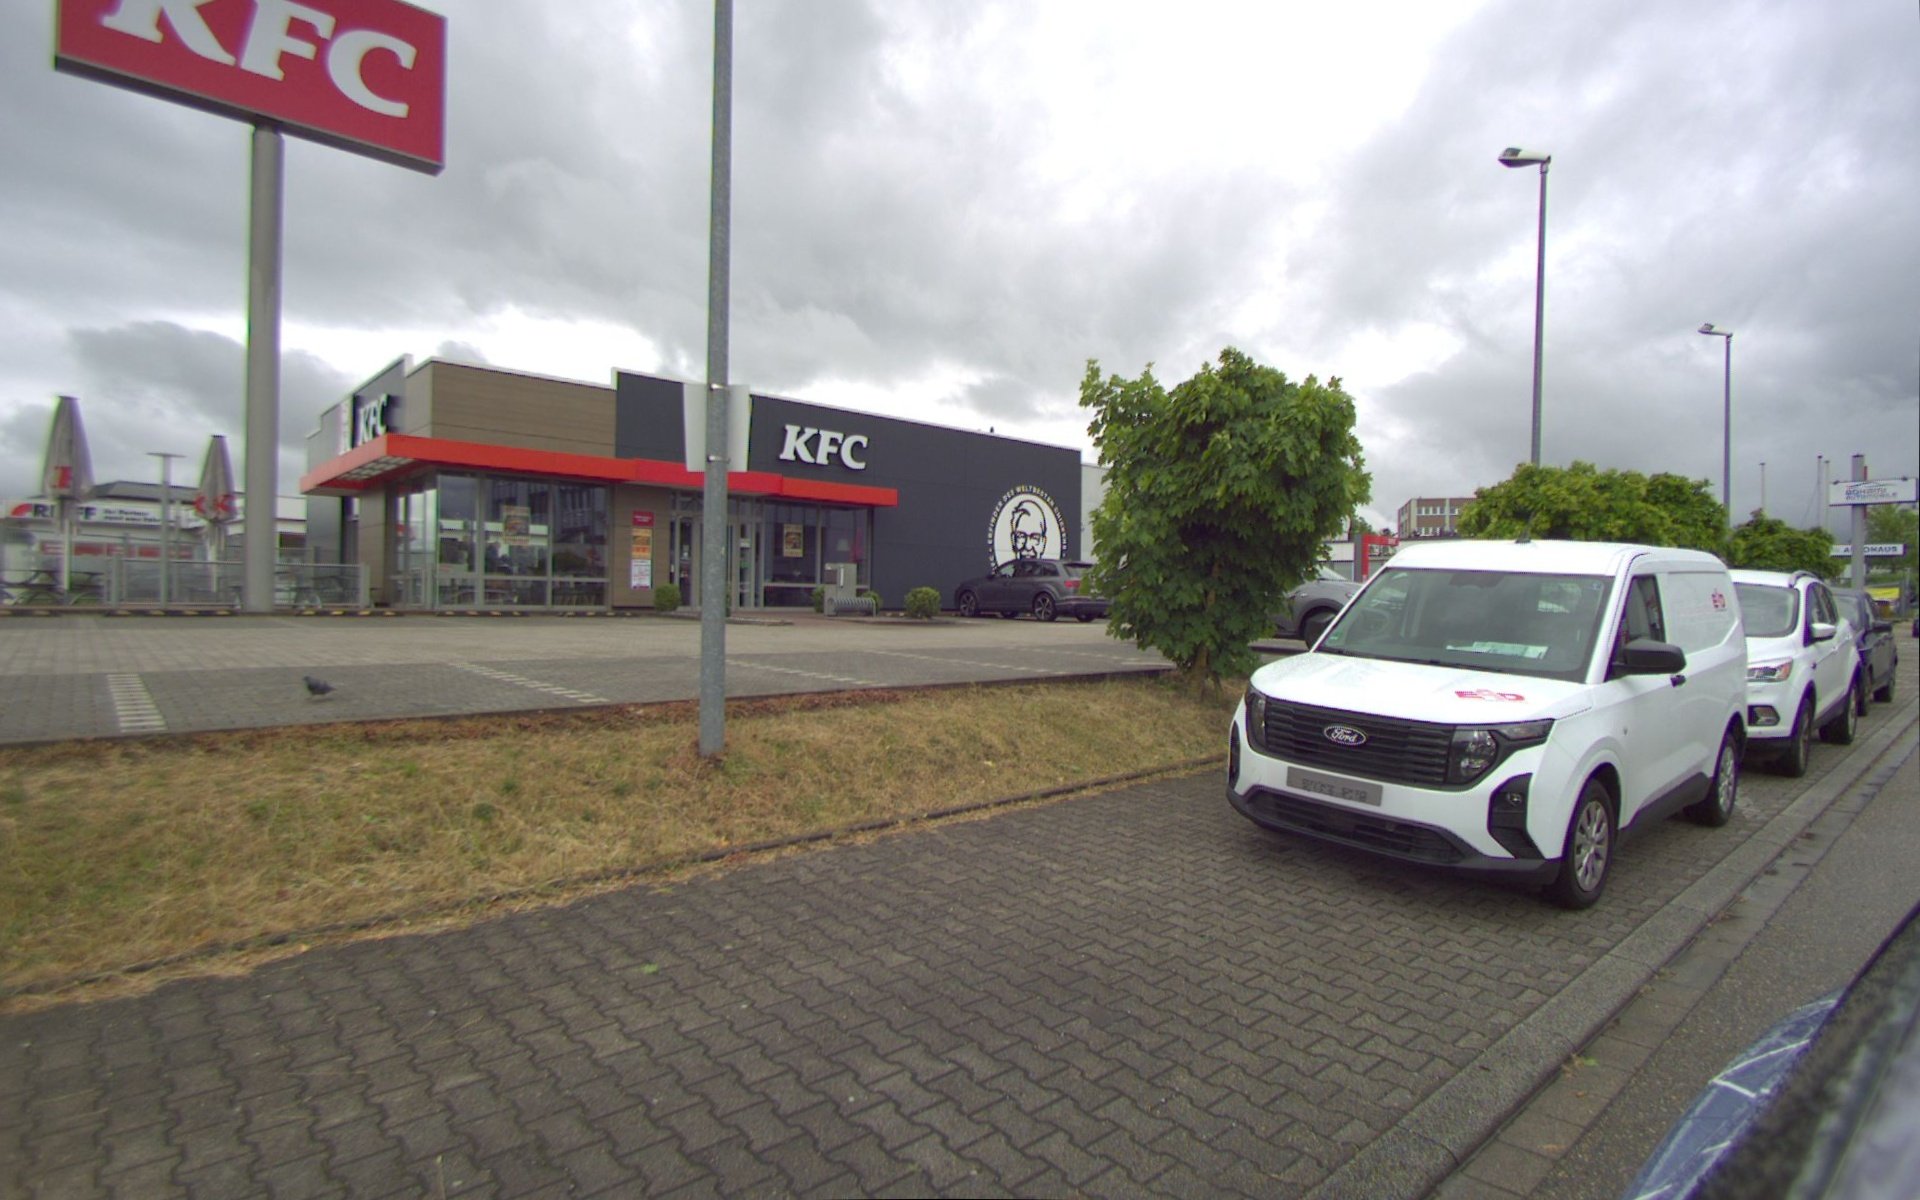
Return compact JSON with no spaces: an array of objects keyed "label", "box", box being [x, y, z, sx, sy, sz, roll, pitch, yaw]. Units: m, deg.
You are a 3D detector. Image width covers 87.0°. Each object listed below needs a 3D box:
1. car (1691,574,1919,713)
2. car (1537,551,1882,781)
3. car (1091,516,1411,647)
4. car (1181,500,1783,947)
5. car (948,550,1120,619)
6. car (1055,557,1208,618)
[{"label":"car","box":[11.585,0.467,13.765,3.930,1.618,1.821,-1,1,-41]},{"label":"car","box":[7.197,0.456,9.583,3.930,1.729,1.821,-1,1,-41]},{"label":"car","box":[4.388,-0.291,15.780,4.489,1.762,1.862,1,1,45]},{"label":"car","box":[3.360,0.429,6.130,4.175,1.805,1.796,-1,3,-41]},{"label":"car","box":[1.980,-0.443,28.236,4.729,1.762,1.862,1,1,45]},{"label":"car","box":[5.272,-0.410,31.562,4.489,1.762,1.862,1,1,45]}]
